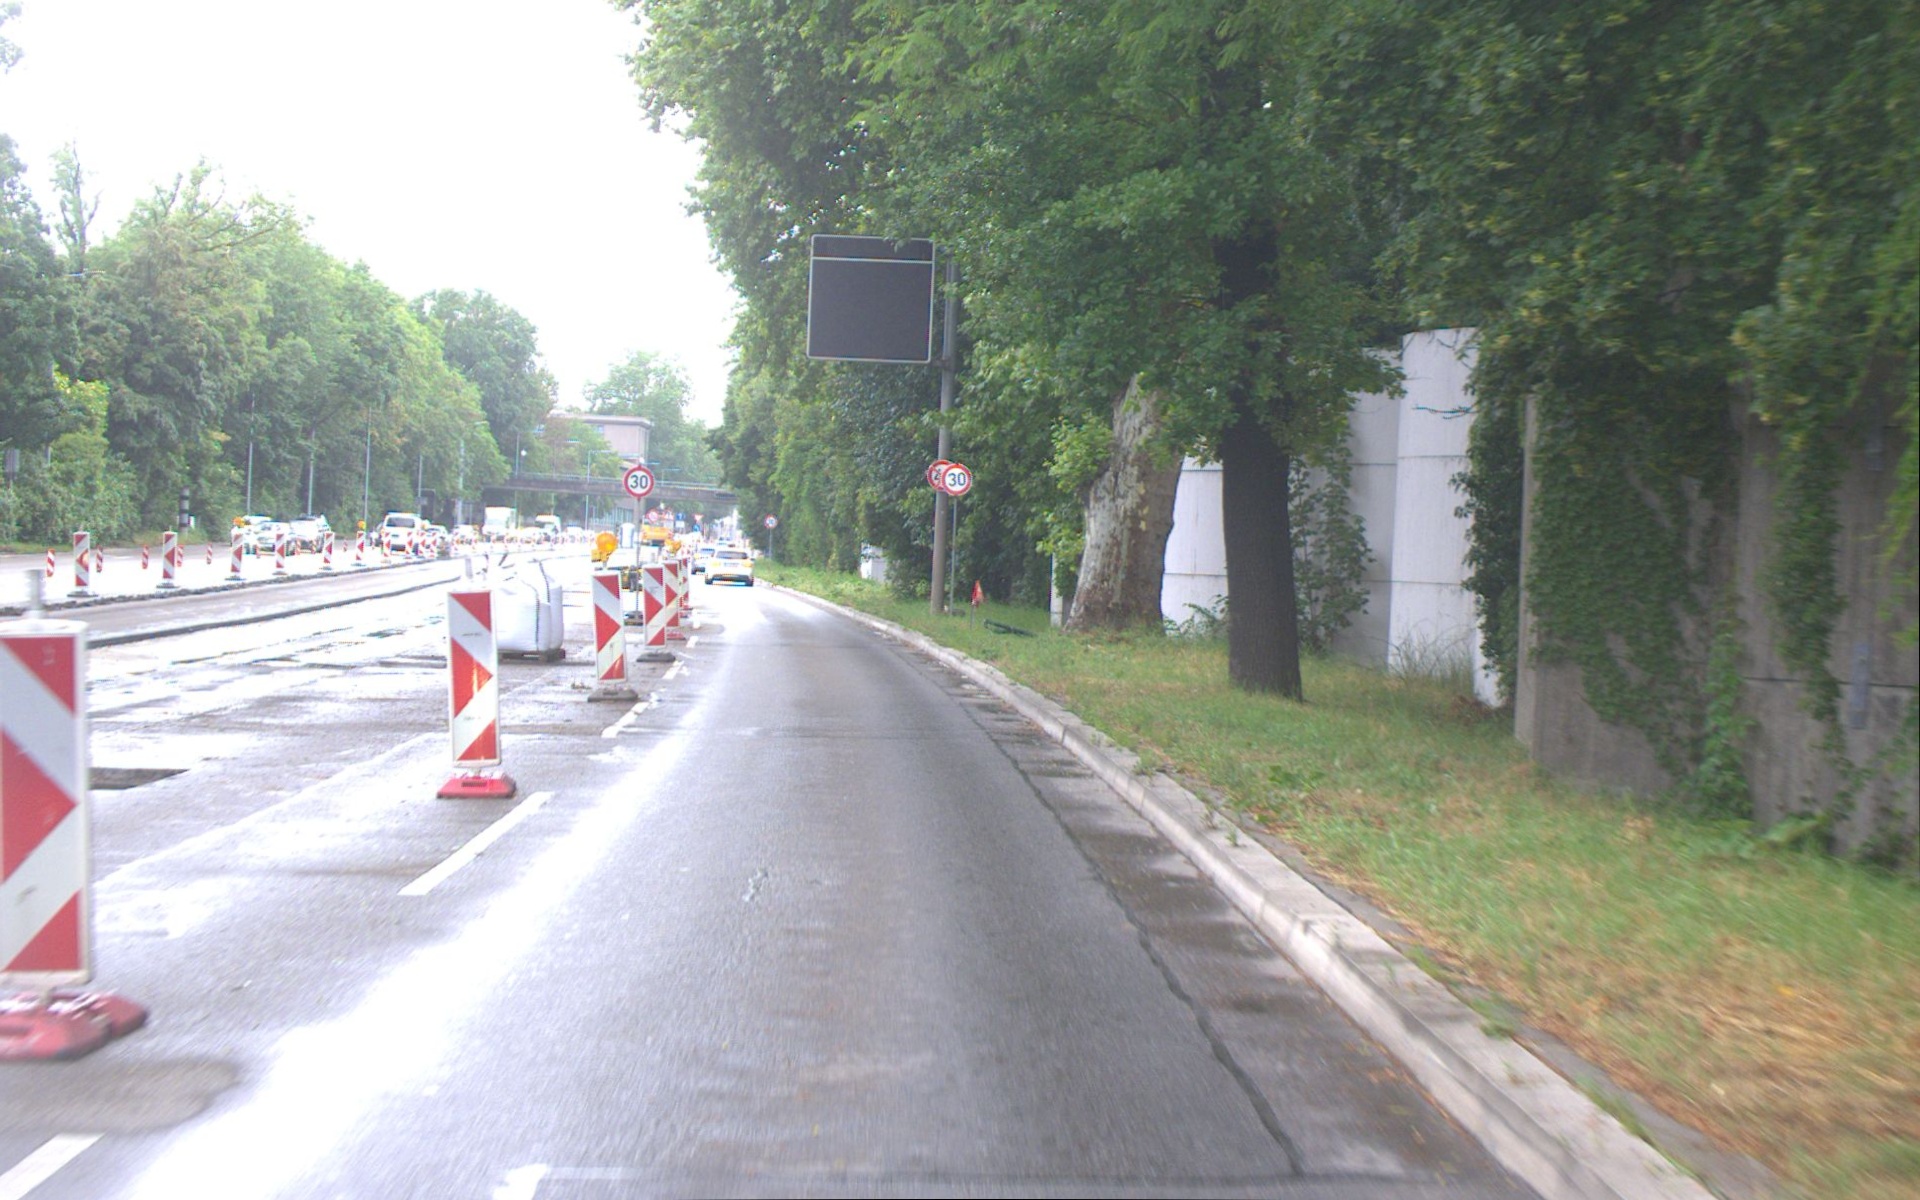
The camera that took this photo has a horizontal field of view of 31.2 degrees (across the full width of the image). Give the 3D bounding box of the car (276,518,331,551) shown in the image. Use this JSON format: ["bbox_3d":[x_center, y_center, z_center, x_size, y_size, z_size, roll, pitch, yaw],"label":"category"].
[{"bbox_3d":[-27.811,-2.782,145.667,1.817,1.351,4.391,1,1,-5],"label":"car"}]

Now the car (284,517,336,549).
[{"bbox_3d":[-28.465,-2.954,150.727,1.817,1.351,4.206,1,1,-5],"label":"car"}]

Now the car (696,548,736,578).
[{"bbox_3d":[-11.906,-1.804,167.392,1.854,1.428,3.732,1,1,-5],"label":"car"}]

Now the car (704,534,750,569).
[{"bbox_3d":[-8.970,-1.883,132.345,1.697,1.331,3.492,0,1,-5],"label":"car"}]
